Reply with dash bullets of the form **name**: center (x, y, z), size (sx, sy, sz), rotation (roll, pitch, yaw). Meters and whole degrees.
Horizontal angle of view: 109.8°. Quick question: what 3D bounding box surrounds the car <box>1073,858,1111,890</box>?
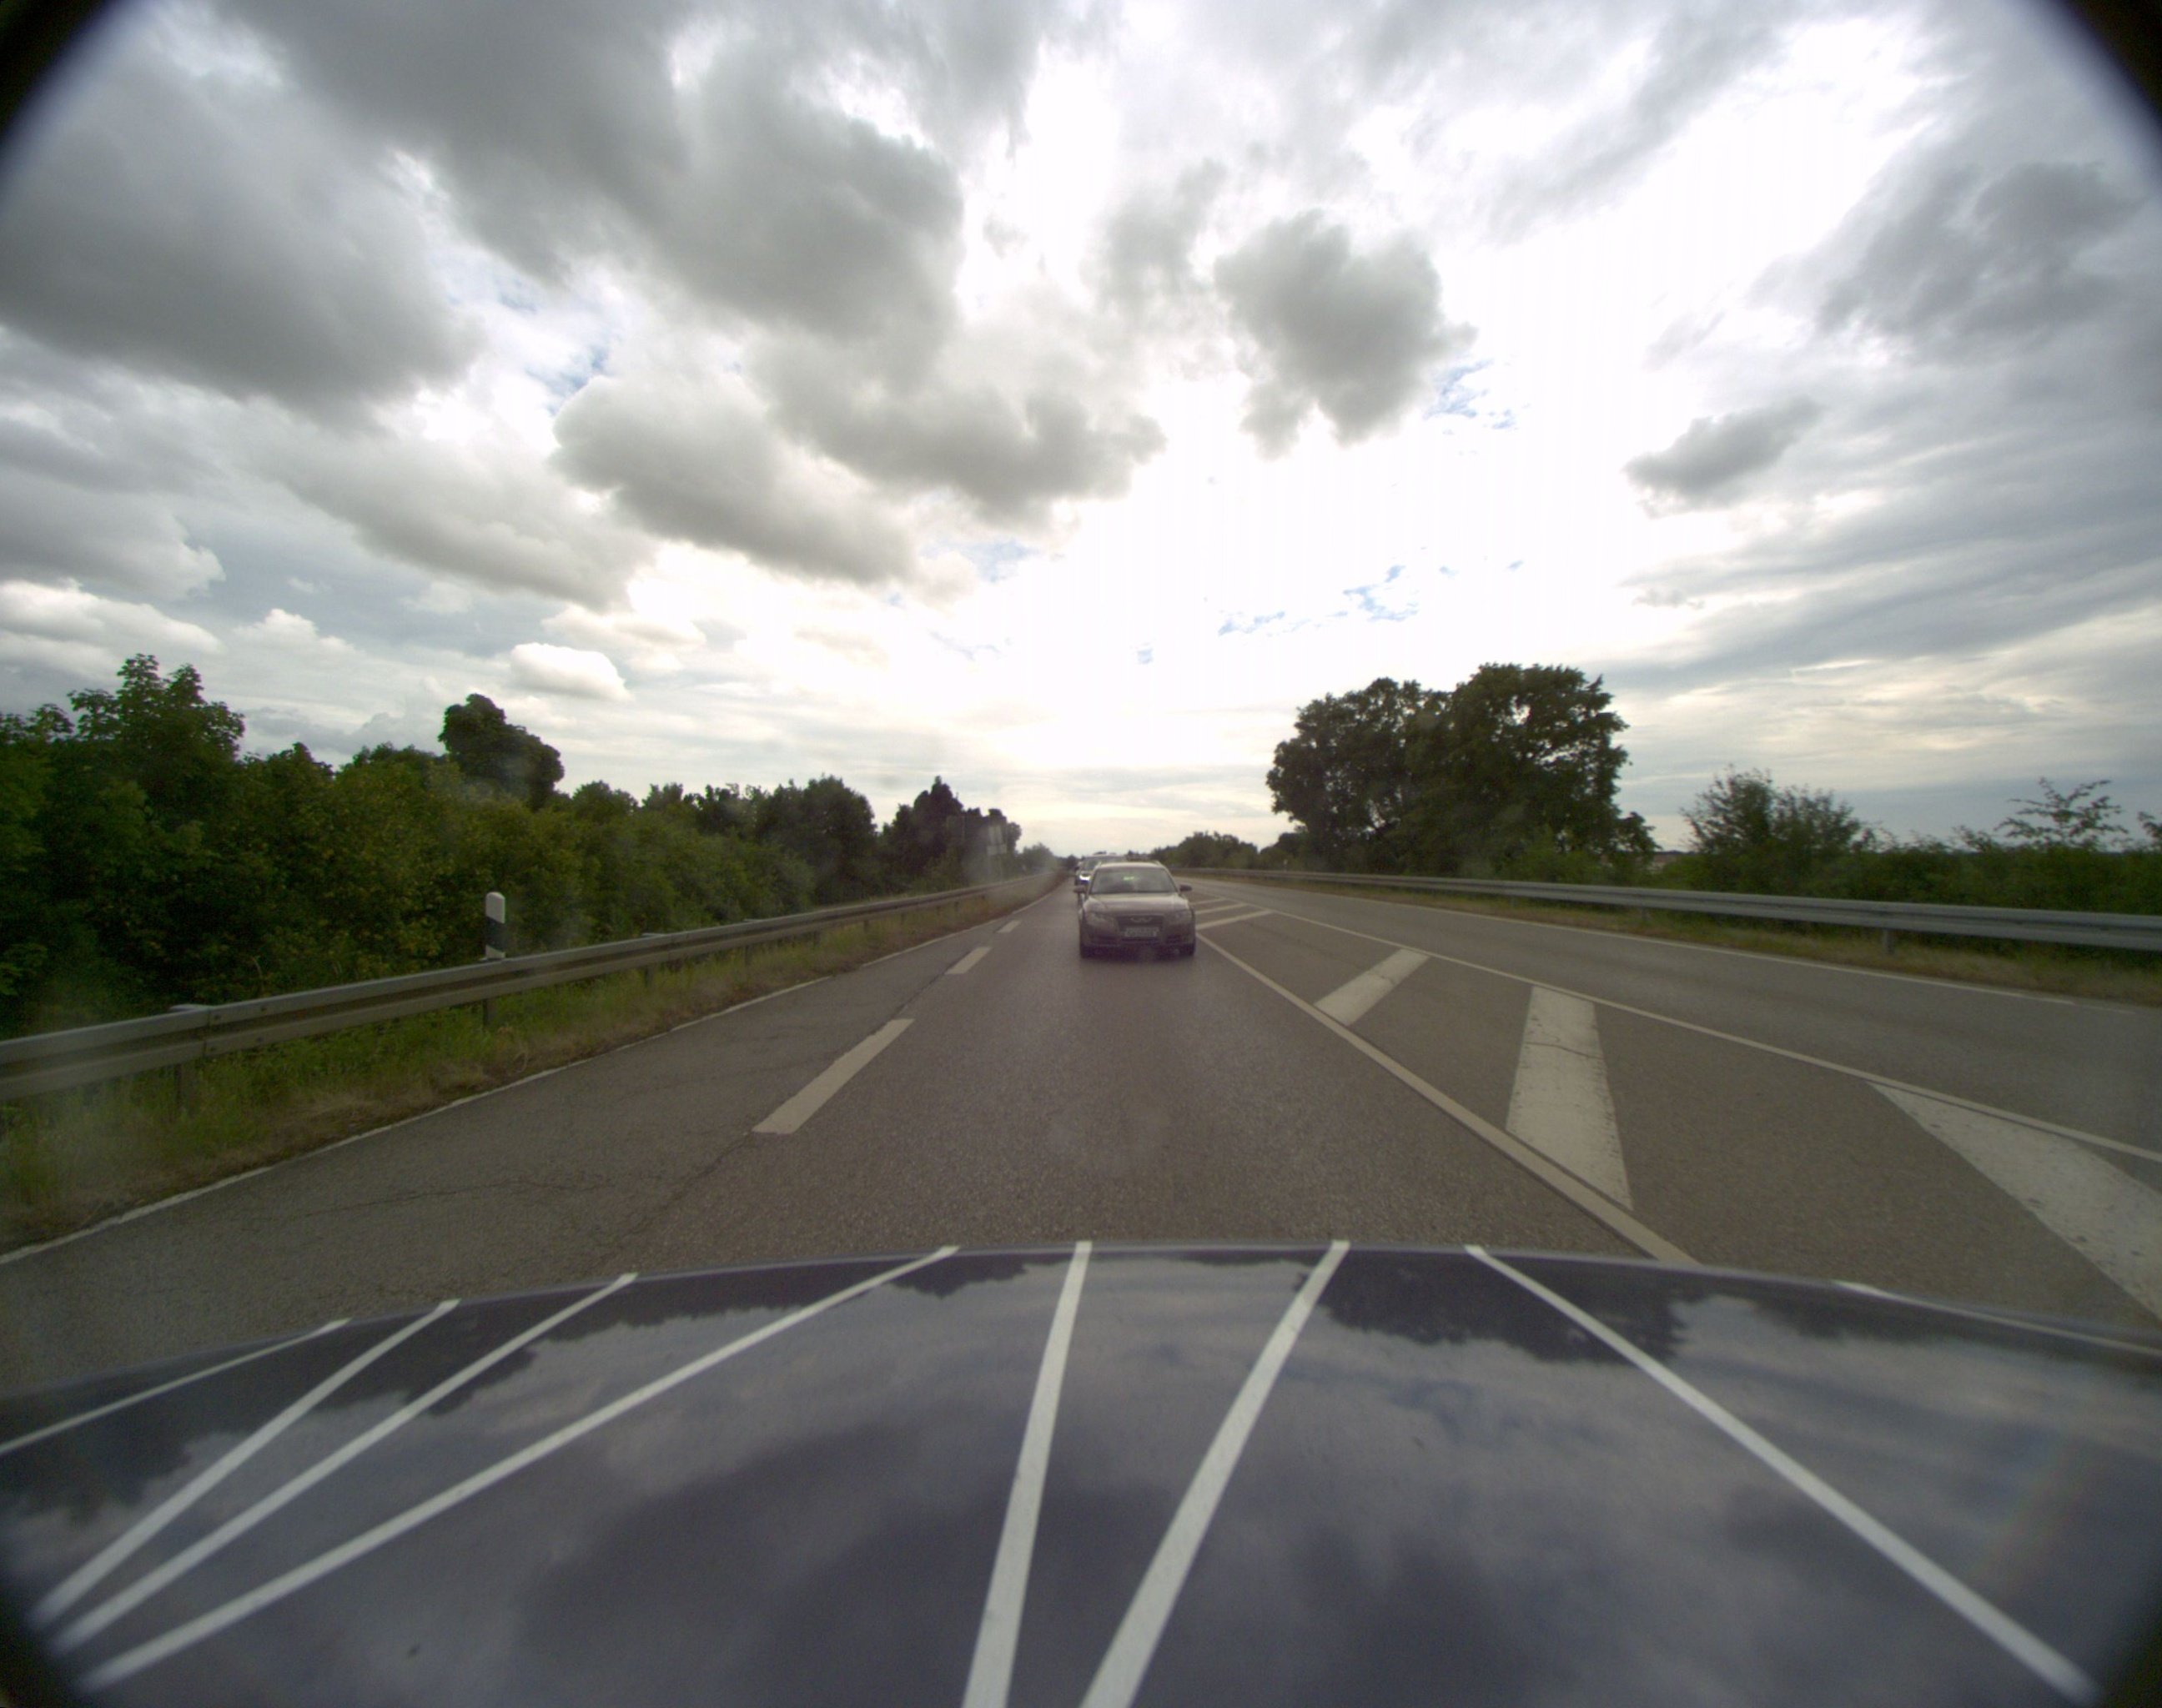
- **car**: center (0.562, 1.015, 39.599), size (1.834, 1.537, 4.035), rotation (-1, 0, 1)

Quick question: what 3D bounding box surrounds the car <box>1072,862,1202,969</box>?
- **car**: center (0.808, 0.881, 12.622), size (1.784, 1.441, 4.035), rotation (-1, 0, 1)

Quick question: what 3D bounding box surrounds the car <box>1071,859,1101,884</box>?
- **car**: center (0.342, 1.136, 50.683), size (1.834, 1.537, 4.035), rotation (-1, 0, 1)

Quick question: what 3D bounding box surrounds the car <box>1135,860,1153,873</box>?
- **car**: center (7.219, 1.400, 86.778), size (1.675, 1.421, 4.258), rotation (-1, 0, 0)

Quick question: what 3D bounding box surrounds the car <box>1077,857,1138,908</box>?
- **car**: center (0.843, 0.894, 25.533), size (1.834, 1.537, 4.035), rotation (-1, 0, 1)
